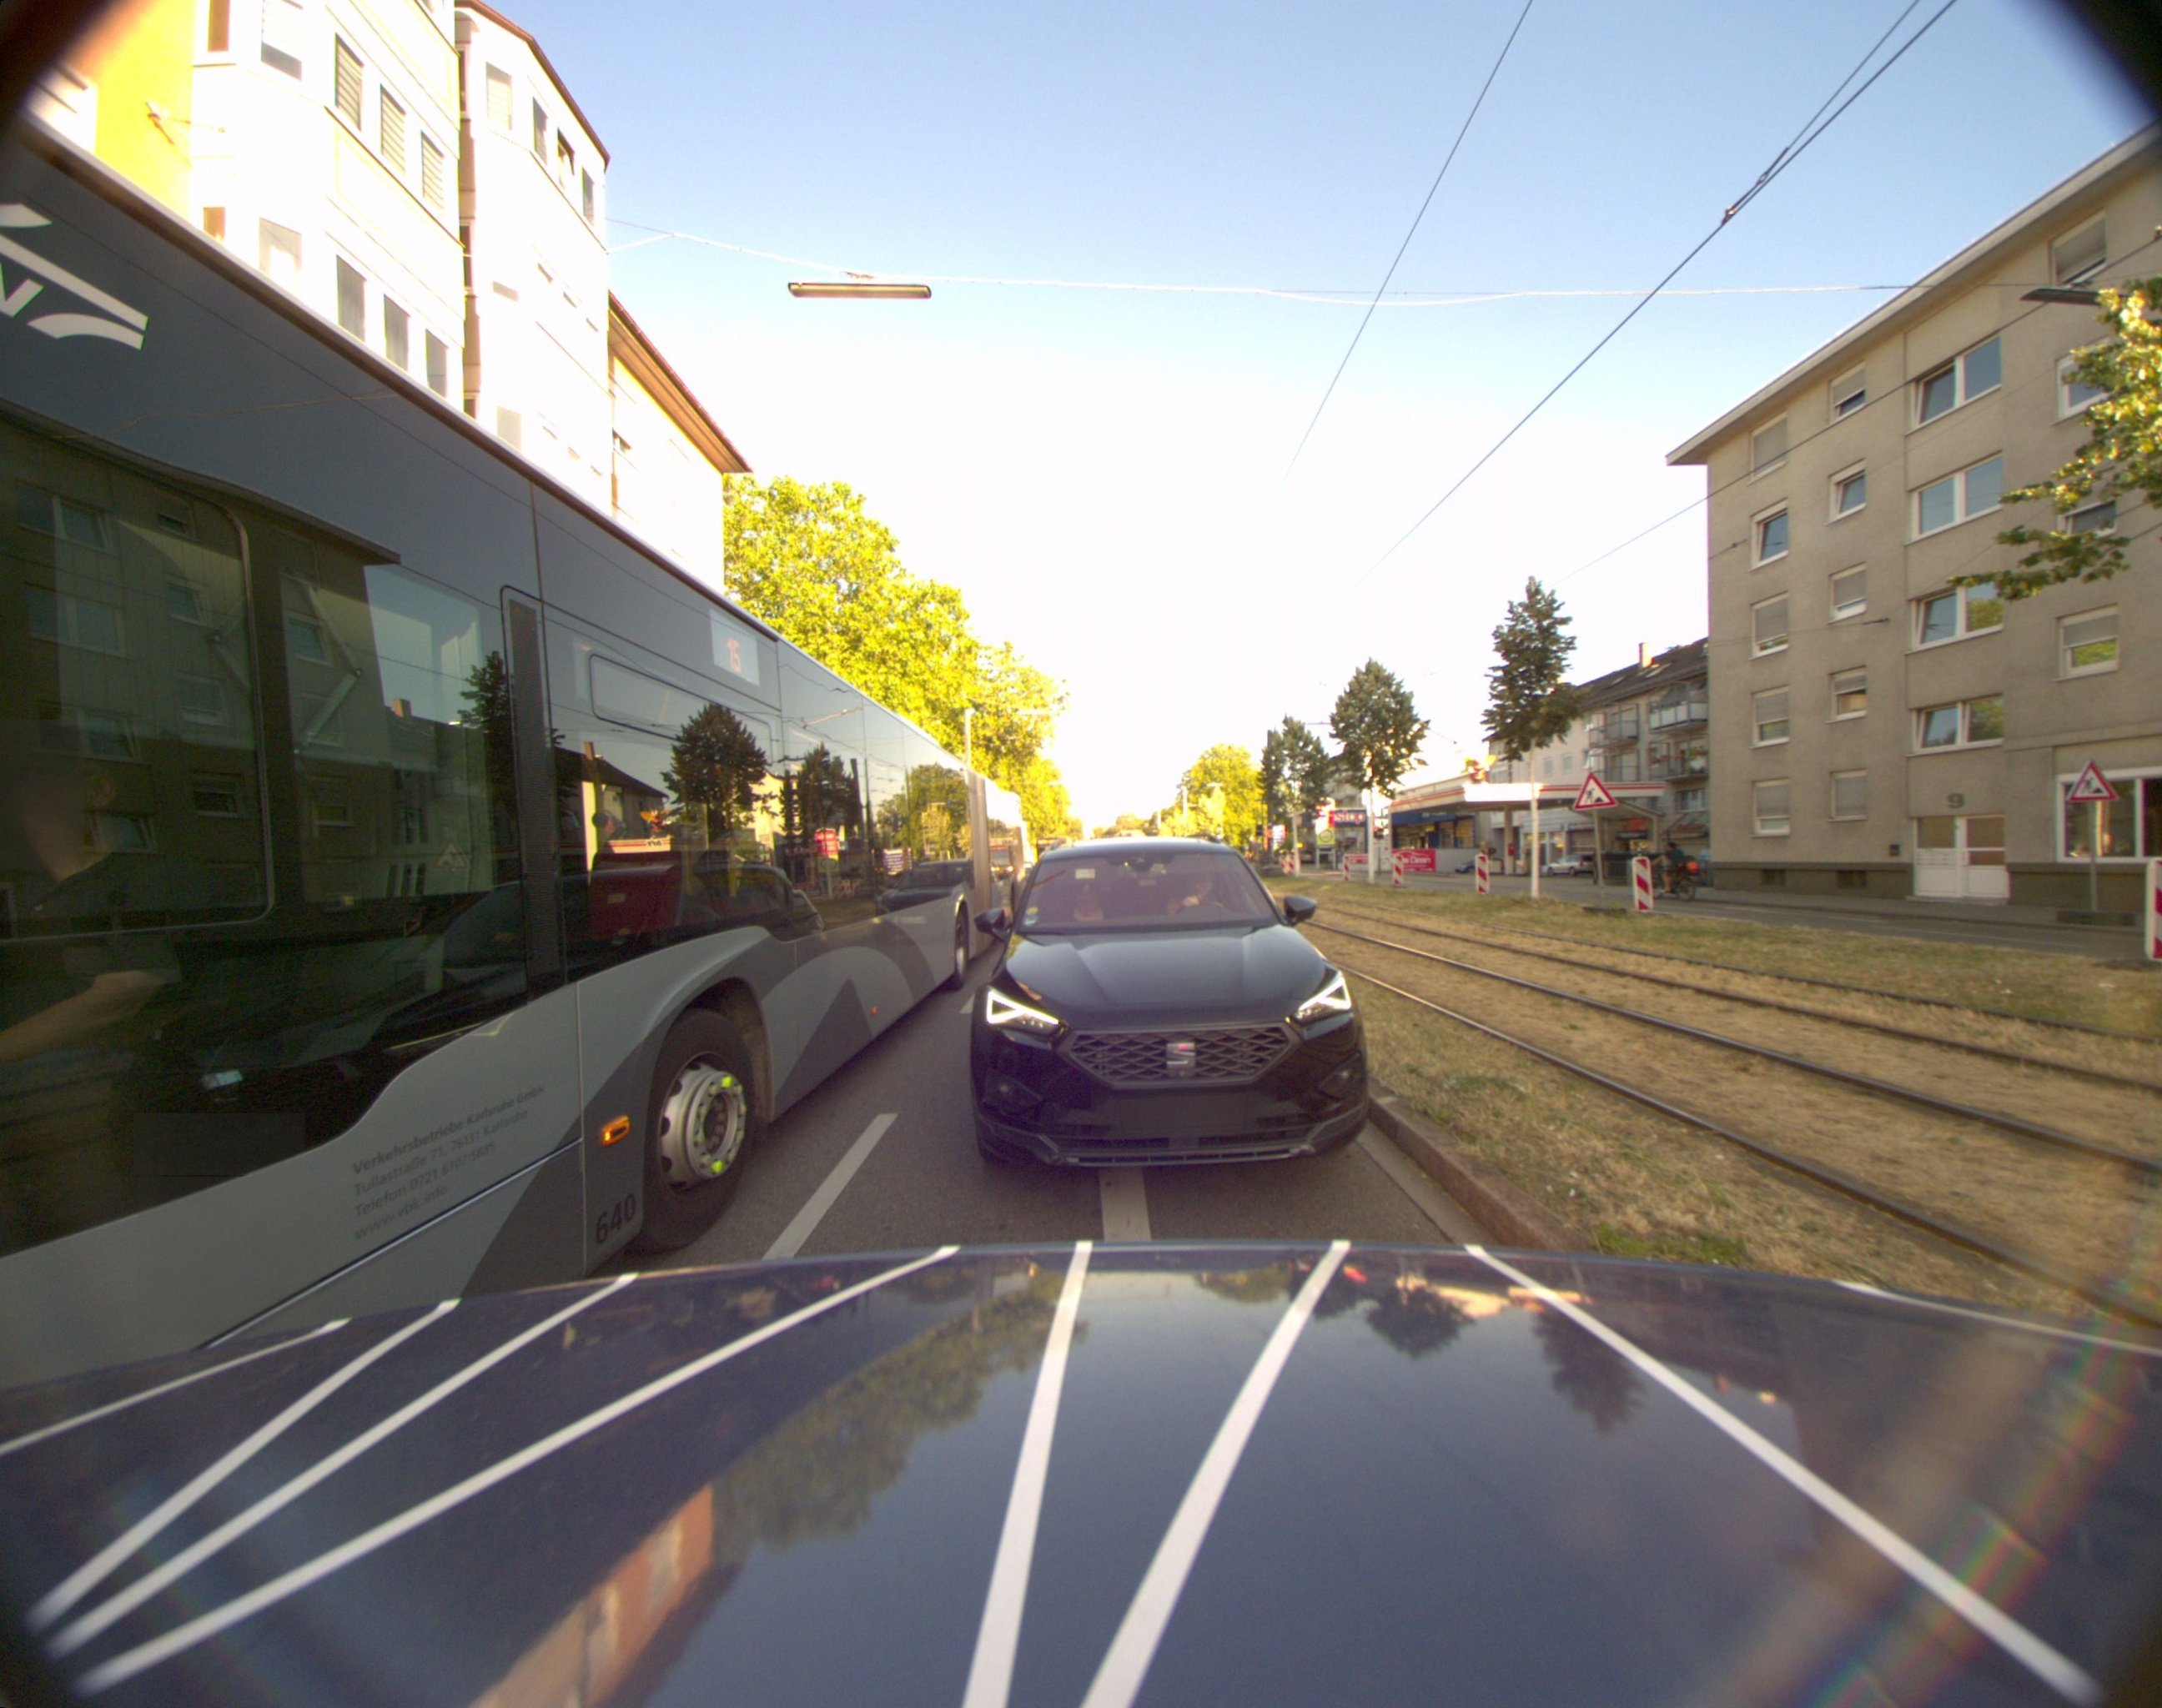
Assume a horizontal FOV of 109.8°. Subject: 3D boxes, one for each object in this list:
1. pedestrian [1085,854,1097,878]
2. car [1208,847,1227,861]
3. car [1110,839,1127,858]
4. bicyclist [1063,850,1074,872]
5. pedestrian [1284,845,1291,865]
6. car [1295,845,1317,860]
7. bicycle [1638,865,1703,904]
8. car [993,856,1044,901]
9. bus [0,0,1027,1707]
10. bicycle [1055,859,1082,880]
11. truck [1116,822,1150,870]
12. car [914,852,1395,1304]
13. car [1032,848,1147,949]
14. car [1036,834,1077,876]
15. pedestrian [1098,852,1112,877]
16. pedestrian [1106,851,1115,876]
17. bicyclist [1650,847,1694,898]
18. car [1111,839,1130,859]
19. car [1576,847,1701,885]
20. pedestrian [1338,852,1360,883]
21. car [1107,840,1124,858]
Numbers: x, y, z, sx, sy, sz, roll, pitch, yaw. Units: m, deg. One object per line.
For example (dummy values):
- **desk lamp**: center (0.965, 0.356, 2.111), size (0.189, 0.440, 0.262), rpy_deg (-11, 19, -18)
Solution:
- **pedestrian**: center (0.626, 0.738, 47.346), size (0.618, 1.482, 0.438), rpy_deg (-2, 1, -13)
- **car**: center (17.035, -0.028, 94.962), size (1.723, 1.601, 3.828), rpy_deg (-2, 1, 3)
- **car**: center (4.103, -0.572, 83.567), size (1.767, 2.002, 3.791), rpy_deg (-2, 1, 1)
- **bicyclist**: center (-0.759, 0.424, 45.938), size (0.500, 1.303, 0.499), rpy_deg (-3, 1, -17)
- **pedestrian**: center (20.841, 0.143, 76.665), size (0.632, 2.002, 0.583), rpy_deg (0, 1, 2)
- **car**: center (25.099, -0.199, 84.828), size (1.781, 1.547, 4.002), rpy_deg (-2, 1, 9)
- **bicycle**: center (17.007, 0.862, 21.981), size (0.447, 1.038, 1.860), rpy_deg (-1, 0, 0)
- **car**: center (-2.451, 0.936, 30.528), size (1.750, 1.598, 3.823), rpy_deg (-2, 1, -1)
- **bus**: center (-2.800, 0.173, 9.087), size (2.773, 3.131, 17.740), rpy_deg (-2, 0, 1)
- **bicycle**: center (-0.763, 0.912, 45.982), size (1.474, 1.213, 0.525), rpy_deg (-2, 1, -17)
- **truck**: center (4.314, -0.683, 64.390), size (2.306, 3.798, 7.723), rpy_deg (-2, 1, 1)
- **car**: center (0.305, 0.850, 4.879), size (1.774, 1.667, 4.000), rpy_deg (-2, 0, 1)
- **car**: center (0.176, 0.764, 15.227), size (1.998, 1.739, 4.000), rpy_deg (-1, 0, 1)
- **car**: center (-1.717, 0.035, 55.659), size (2.681, 2.875, 5.452), rpy_deg (-2, 1, 0)
- **pedestrian**: center (1.529, 0.662, 48.858), size (0.700, 1.552, 0.508), rpy_deg (-3, 2, -45)
- **pedestrian**: center (2.403, 0.781, 61.753), size (0.625, 2.002, 0.695), rpy_deg (-2, 0, 0)
- **bicyclist**: center (17.012, 0.513, 21.887), size (0.779, 1.438, 0.650), rpy_deg (-1, 1, 0)
- **car**: center (4.064, -0.515, 78.534), size (1.767, 2.002, 3.791), rpy_deg (-2, 1, 1)
- **car**: center (22.777, 0.510, 31.154), size (3.727, 1.460, 1.908), rpy_deg (0, -1, 0)
- **pedestrian**: center (11.007, 0.553, 31.174), size (0.664, 1.263, 0.581), rpy_deg (-2, 0, 1)
- **car**: center (3.991, -0.616, 87.889), size (1.767, 2.002, 3.791), rpy_deg (-2, 1, 1)
